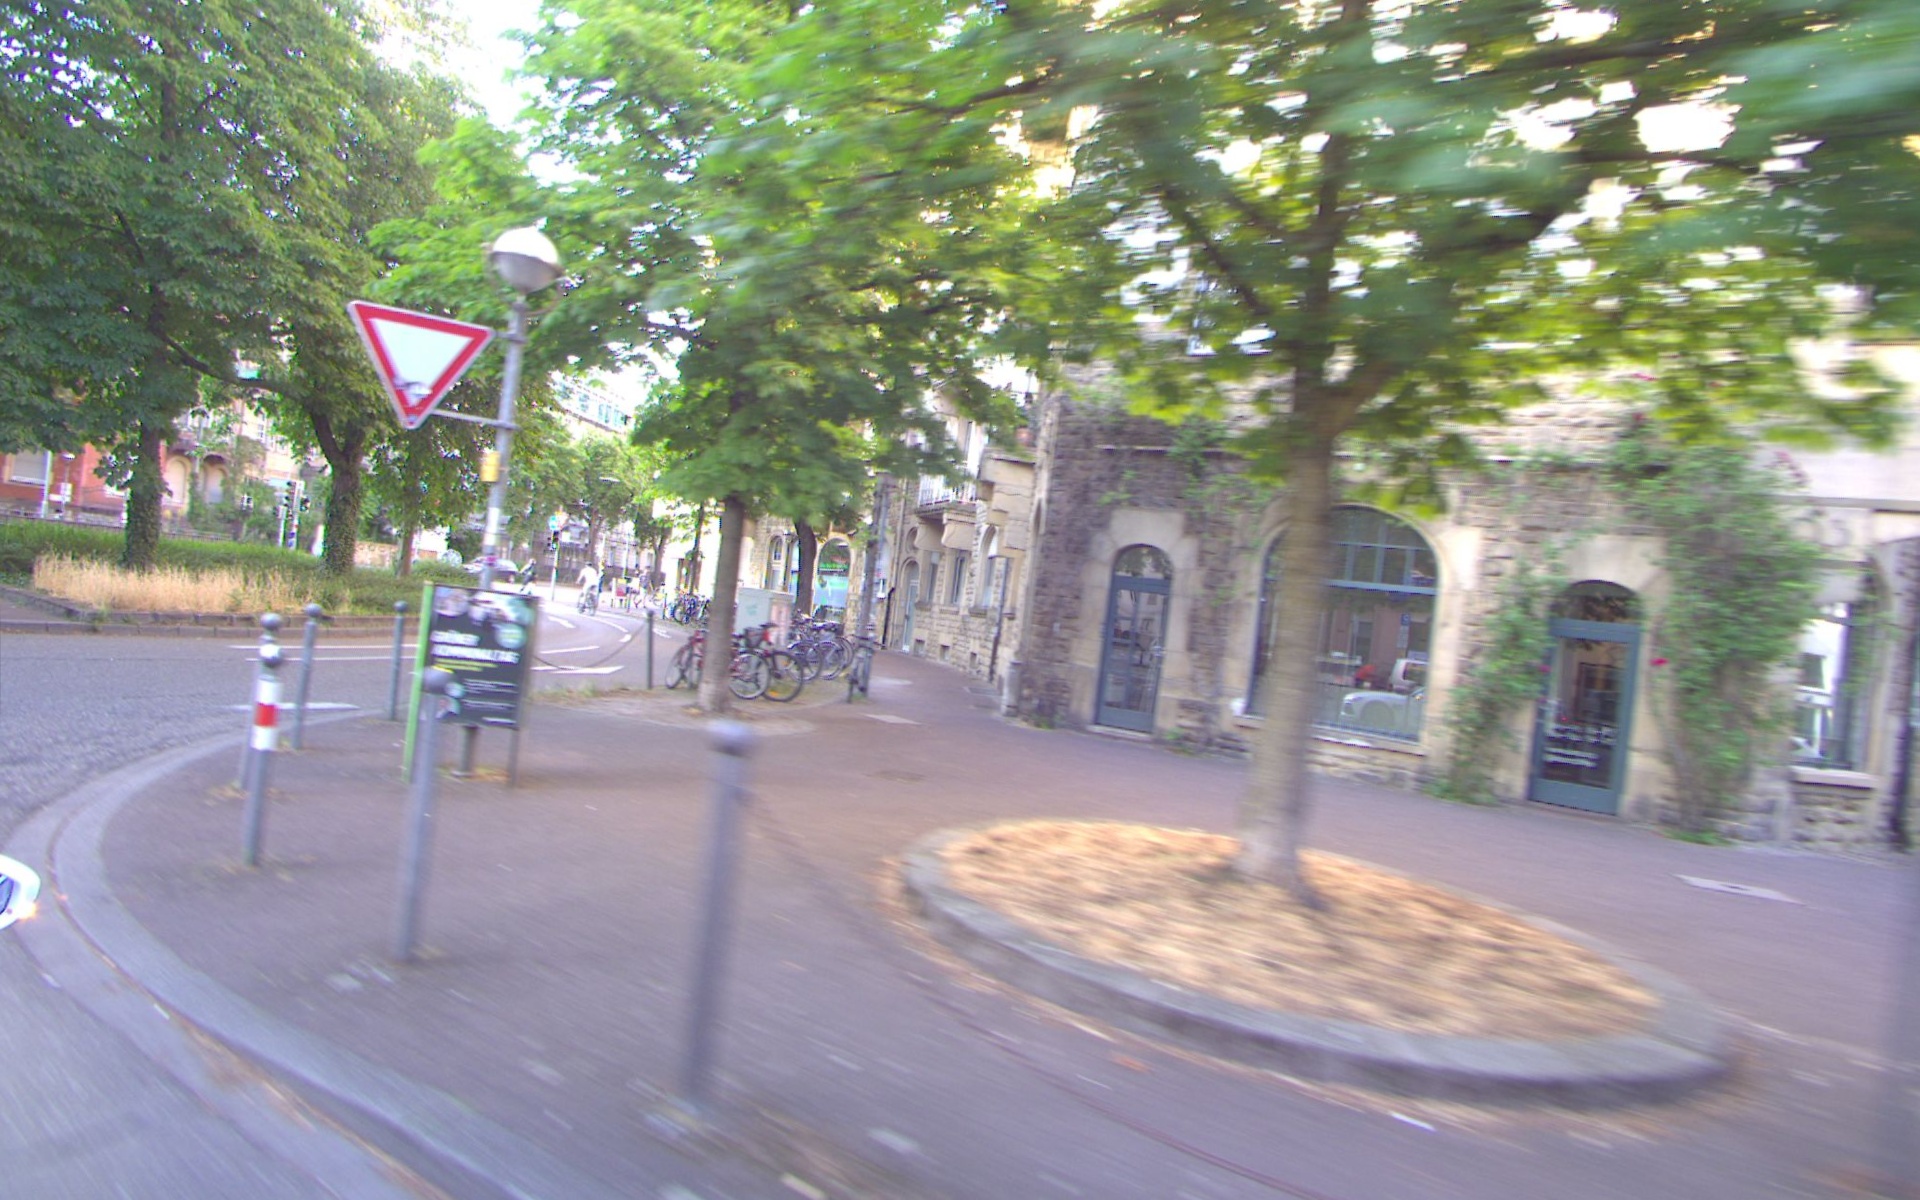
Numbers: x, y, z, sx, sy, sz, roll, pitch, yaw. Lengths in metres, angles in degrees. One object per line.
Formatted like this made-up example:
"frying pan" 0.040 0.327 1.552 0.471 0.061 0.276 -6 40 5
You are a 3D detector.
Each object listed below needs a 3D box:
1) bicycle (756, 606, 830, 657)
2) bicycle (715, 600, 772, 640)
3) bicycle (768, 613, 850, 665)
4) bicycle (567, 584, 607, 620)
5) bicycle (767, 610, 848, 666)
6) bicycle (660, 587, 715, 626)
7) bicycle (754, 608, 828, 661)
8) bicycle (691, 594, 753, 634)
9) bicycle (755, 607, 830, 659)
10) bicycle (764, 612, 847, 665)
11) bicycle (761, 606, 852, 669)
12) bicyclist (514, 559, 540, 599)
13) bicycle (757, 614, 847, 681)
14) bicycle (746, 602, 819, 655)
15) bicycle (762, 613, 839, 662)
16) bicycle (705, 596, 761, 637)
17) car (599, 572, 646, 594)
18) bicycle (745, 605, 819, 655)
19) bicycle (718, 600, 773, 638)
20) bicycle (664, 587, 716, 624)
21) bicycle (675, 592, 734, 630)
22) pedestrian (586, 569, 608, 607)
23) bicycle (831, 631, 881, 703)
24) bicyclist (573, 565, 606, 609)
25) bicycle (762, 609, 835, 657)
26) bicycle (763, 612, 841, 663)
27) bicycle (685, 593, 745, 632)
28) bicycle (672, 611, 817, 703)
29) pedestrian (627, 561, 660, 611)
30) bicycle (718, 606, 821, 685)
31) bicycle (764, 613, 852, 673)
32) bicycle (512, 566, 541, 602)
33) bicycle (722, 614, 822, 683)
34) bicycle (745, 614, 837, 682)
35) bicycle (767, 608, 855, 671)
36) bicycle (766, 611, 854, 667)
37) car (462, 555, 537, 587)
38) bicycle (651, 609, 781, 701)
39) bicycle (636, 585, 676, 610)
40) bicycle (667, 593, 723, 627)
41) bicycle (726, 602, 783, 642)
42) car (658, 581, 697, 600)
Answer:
"bicycle" -4.507 0.861 27.191 1.826 1.158 0.417 7 0 -15
"bicycle" -7.024 0.661 32.680 1.659 1.091 0.482 7 0 -33
"bicycle" -3.608 0.941 24.077 1.825 1.027 0.418 7 0 -11
"bicycle" -13.043 0.050 35.168 0.694 1.068 1.774 7 0 -39
"bicycle" -3.704 0.915 24.388 1.825 1.130 0.418 7 0 -11
"bicycle" -10.335 0.245 38.127 1.781 1.252 0.691 7 0 -42
"bicycle" -4.492 0.928 26.781 1.826 1.133 0.421 7 -19 -15
"bicycle" -8.293 0.492 35.071 1.872 1.176 0.699 7 0 -32
"bicycle" -4.412 0.878 26.535 1.826 1.095 0.421 7 -19 -15
"bicycle" -3.819 0.954 24.919 1.890 1.074 0.534 7 0 -14
"bicycle" -3.482 0.847 22.790 1.890 1.215 0.551 7 0 -14
"bicyclist" -17.090 -0.823 39.695 0.692 1.479 0.777 7 0 -31
"bicycle" -3.003 0.899 19.202 1.580 1.089 0.418 7 0 -8
"bicycle" -4.947 0.811 28.096 1.856 1.229 0.492 7 -6 -15
"bicycle" -4.066 0.958 25.655 1.826 1.012 0.417 7 0 -15
"bicycle" -7.644 0.561 33.874 1.654 1.144 0.482 7 6 -24
"car" -29.721 -1.463 88.813 1.972 1.444 4.635 7 -1 8
"bicycle" -5.043 0.859 28.524 1.864 1.154 0.488 9 3 -29
"bicycle" -7.200 0.646 33.765 1.654 1.091 0.483 7 0 -26
"bicycle" -10.540 0.224 39.285 1.782 1.252 0.643 7 0 -44
"bicycle" -9.202 0.402 36.252 1.879 1.176 0.633 7 0 -42
"pedestrian" -18.401 -0.621 51.029 0.858 1.817 0.920 7 1 -20
"bicycle" -1.582 1.006 15.483 0.424 0.981 1.727 7 -1 2
"bicyclist" -12.901 -0.449 35.043 0.694 1.428 0.855 7 0 -39
"bicycle" -4.442 0.925 27.751 1.840 1.117 0.568 7 0 -39
"bicycle" -3.986 0.949 25.375 1.826 1.064 0.417 7 0 -15
"bicycle" -8.701 0.452 35.706 1.872 1.176 0.635 7 0 -32
"bicycle" -3.022 0.787 14.119 1.863 1.052 0.432 7 0 9
"pedestrian" -14.099 -0.633 44.809 1.002 2.112 1.052 6 1 -29
"bicycle" -3.291 0.778 17.444 1.579 1.162 0.555 7 0 -3
"bicycle" -3.272 0.917 21.675 1.767 1.076 0.447 7 0 -11
"bicycle" -17.115 -0.642 39.702 0.692 1.252 1.848 7 0 -31
"bicycle" -3.327 0.855 17.886 1.579 1.033 0.555 7 0 -3
"bicycle" -3.141 0.899 18.802 1.580 1.076 0.418 7 0 -8
"bicycle" -3.271 0.866 22.087 1.767 1.182 0.447 7 0 -11
"bicycle" -3.508 0.921 23.535 1.890 1.078 0.551 7 0 -14
"car" -29.098 -1.799 63.741 1.913 1.528 4.423 7 -1 12
"bicycle" -3.340 0.739 13.792 1.577 1.052 0.432 7 0 9
"bicycle" -16.346 -0.131 54.023 1.856 1.144 0.726 7 0 -28
"bicycle" -9.848 0.392 37.430 1.795 1.051 0.691 7 0 -42
"bicycle" -6.604 0.711 32.346 1.659 1.091 0.482 7 0 -33
"car" -27.789 -0.930 99.043 1.913 1.500 4.171 7 -1 12
